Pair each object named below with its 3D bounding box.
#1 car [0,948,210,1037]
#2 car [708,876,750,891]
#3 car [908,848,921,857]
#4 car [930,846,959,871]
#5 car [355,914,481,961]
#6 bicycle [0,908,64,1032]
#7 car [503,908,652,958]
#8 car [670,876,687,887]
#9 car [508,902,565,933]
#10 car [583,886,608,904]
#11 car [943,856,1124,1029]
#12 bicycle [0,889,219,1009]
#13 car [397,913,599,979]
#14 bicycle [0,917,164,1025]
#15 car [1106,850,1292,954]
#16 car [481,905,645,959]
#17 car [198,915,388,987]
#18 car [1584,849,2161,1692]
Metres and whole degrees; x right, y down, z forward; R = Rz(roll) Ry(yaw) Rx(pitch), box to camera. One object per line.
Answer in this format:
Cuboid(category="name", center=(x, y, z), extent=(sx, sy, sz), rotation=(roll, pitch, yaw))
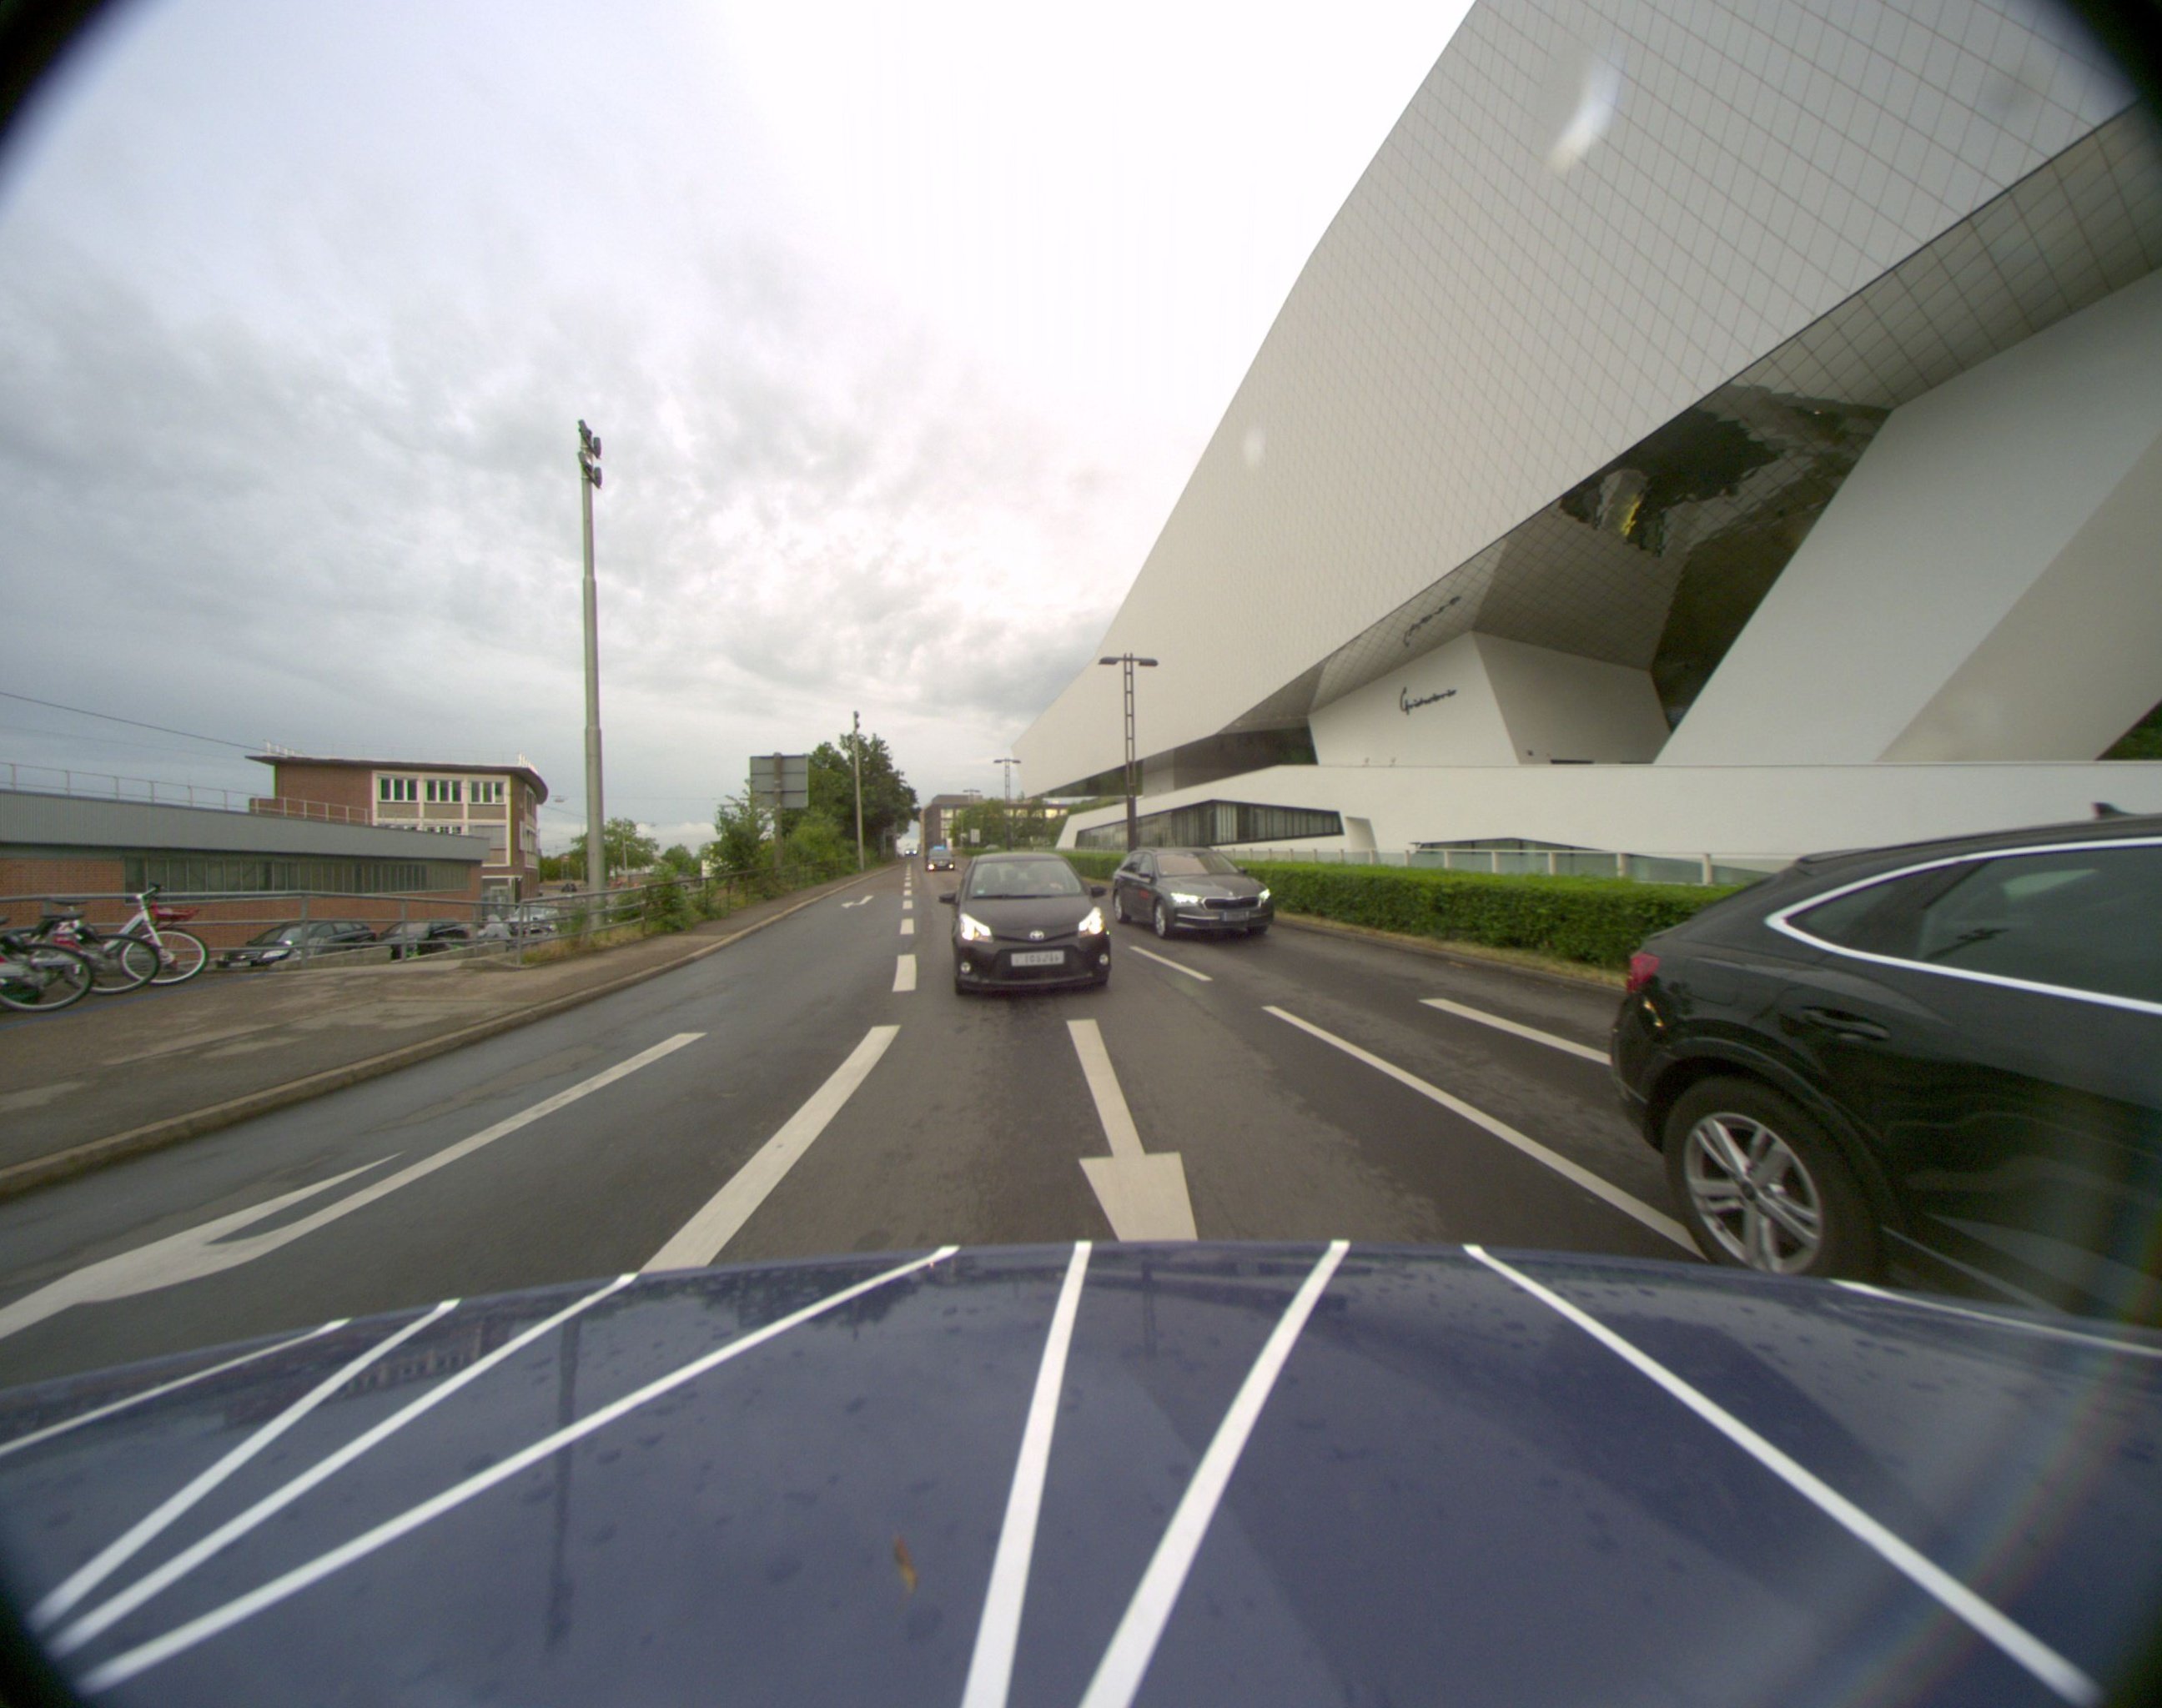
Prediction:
Cuboid(category="car", center=(-23.618, 3.210, 18.026), extent=(1.721, 1.417, 3.996), rotation=(-2, 0, -11))
Cuboid(category="car", center=(-38.004, 3.169, 82.077), extent=(4.005, 1.417, 1.717), rotation=(-2, 0, -25))
Cuboid(category="car", center=(-29.143, -0.269, 132.758), extent=(1.819, 1.430, 4.297), rotation=(-1, -1, -16))
Cuboid(category="car", center=(-8.899, 0.232, 49.610), extent=(1.750, 1.466, 4.064), rotation=(-3, 1, -10))
Cuboid(category="car", center=(-26.244, 3.256, 30.288), extent=(1.721, 1.396, 4.272), rotation=(-2, 0, -8))
Cuboid(category="bicycle", center=(-10.219, 1.062, 6.664), extent=(1.465, 1.068, 0.442), rotation=(-1, 3, -42))
Cuboid(category="car", center=(-17.198, 2.679, 26.060), extent=(3.996, 1.417, 1.721), rotation=(-2, 0, 4))
Cuboid(category="car", center=(-57.388, 3.933, 108.305), extent=(1.724, 1.417, 3.990), rotation=(-2, 0, -35))
Cuboid(category="car", center=(-30.804, 3.565, 43.078), extent=(1.735, 1.380, 3.993), rotation=(-2, 0, -23))
Cuboid(category="car", center=(-43.287, 3.651, 67.799), extent=(1.723, 1.417, 3.991), rotation=(-2, 0, -31))
Cuboid(category="car", center=(-0.760, 0.847, 9.301), extent=(1.695, 1.499, 4.007), rotation=(-2, 1, -9))
Cuboid(category="bicycle", center=(-10.510, 0.987, 8.171), extent=(1.547, 1.149, 0.450), rotation=(0, 2, -28))
Cuboid(category="car", center=(-15.179, 2.369, 19.911), extent=(3.996, 1.417, 1.721), rotation=(-2, 0, 4))
Cuboid(category="bicycle", center=(-10.255, 1.146, 7.352), extent=(0.485, 0.916, 1.708), rotation=(1, 2, 43))
Cuboid(category="car", center=(1.836, 0.688, 13.315), extent=(1.818, 1.430, 4.297), rotation=(-2, 1, -11))
Cuboid(category="car", center=(-16.231, 2.423, 23.924), extent=(3.996, 1.417, 1.721), rotation=(-2, 0, 4))
Cuboid(category="car", center=(-24.838, 2.983, 24.235), extent=(1.784, 1.657, 4.502), rotation=(-2, 0, -8))
Cuboid(category="car", center=(2.898, 0.810, 0.811), extent=(1.757, 1.509, 4.393), rotation=(-2, 1, -1))
